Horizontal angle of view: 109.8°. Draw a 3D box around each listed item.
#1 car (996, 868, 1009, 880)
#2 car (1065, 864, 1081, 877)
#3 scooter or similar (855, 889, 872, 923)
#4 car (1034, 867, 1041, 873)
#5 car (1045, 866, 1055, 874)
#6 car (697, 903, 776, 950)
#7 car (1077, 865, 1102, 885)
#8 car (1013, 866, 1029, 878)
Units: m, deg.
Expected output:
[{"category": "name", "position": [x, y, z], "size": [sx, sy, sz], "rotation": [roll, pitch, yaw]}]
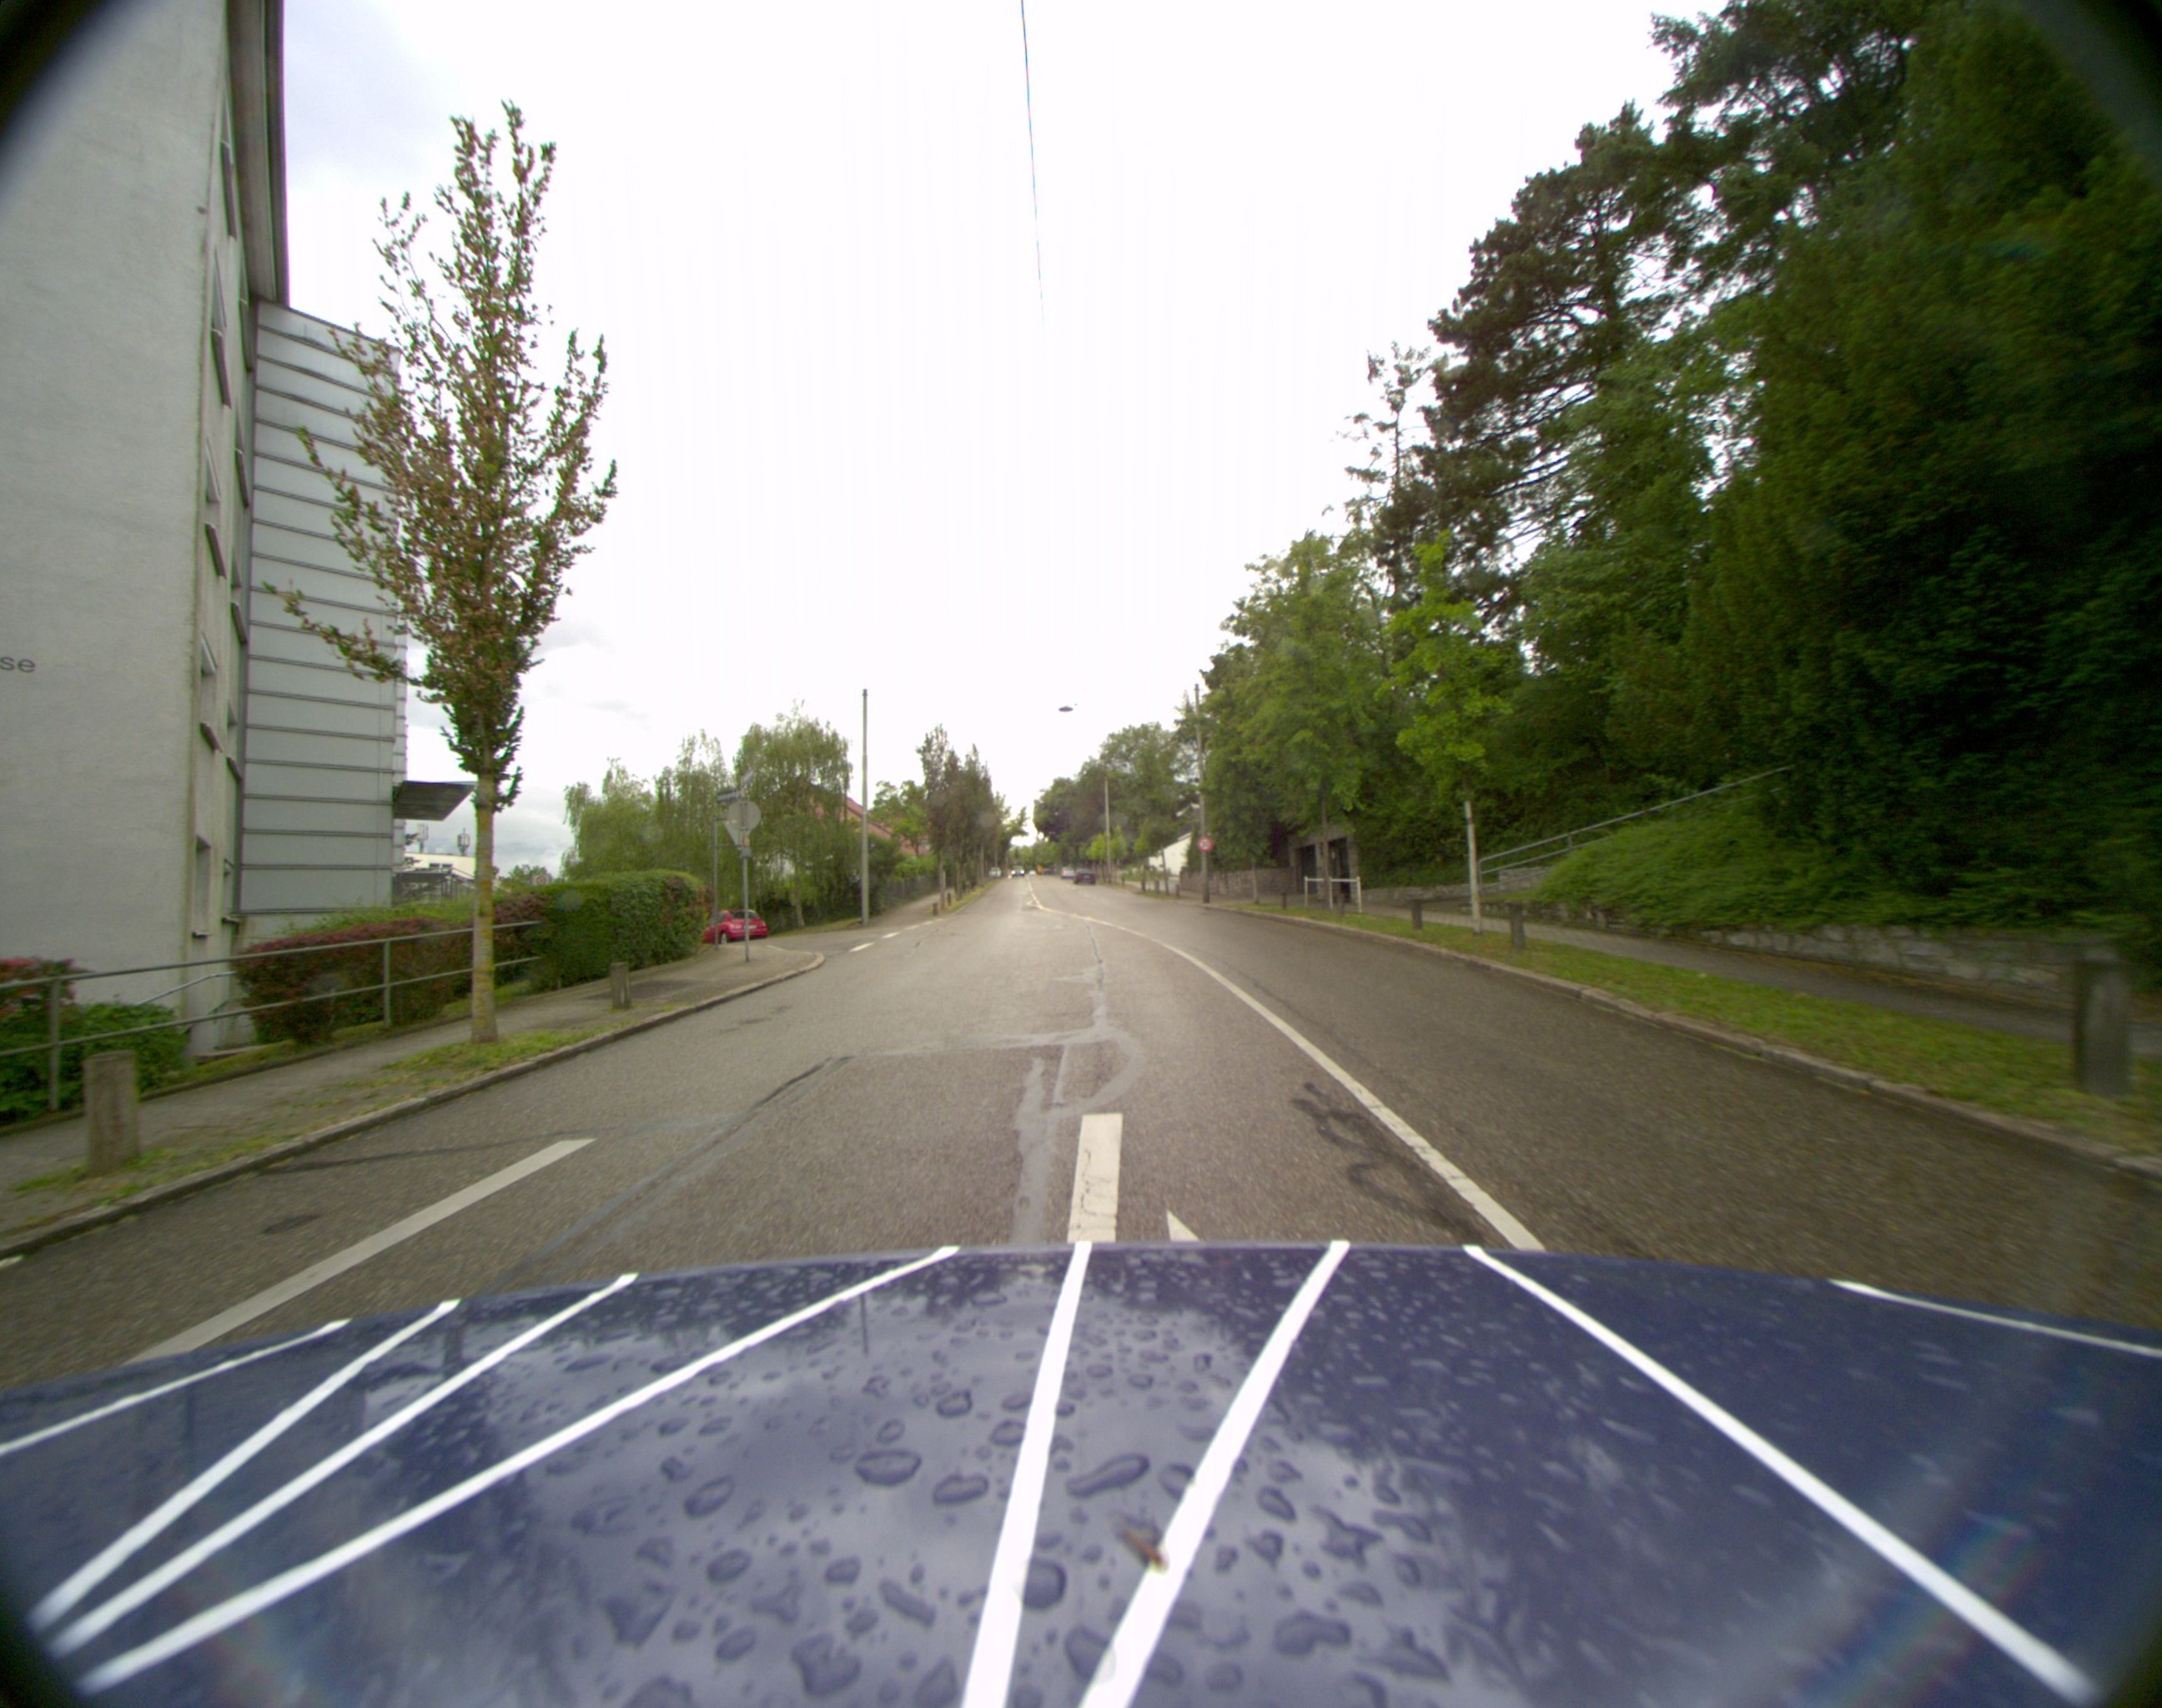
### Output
[{"category": "car", "position": [-11.143, 2.771, 107.838], "size": [1.830, 1.620, 3.998], "rotation": [-1, 0, -6]}, {"category": "car", "position": [-0.978, 1.945, 91.434], "size": [1.770, 1.477, 3.800], "rotation": [1, -1, -4]}, {"category": "scooter or similar", "position": [-8.905, 2.121, 31.191], "size": [0.343, 1.247, 1.267], "rotation": [-5, 1, -5]}, {"category": "car", "position": [-10.938, 3.951, 190.099], "size": [1.767, 1.477, 3.999], "rotation": [-1, 0, -4]}, {"category": "car", "position": [-6.389, 3.299, 157.417], "size": [1.750, 1.540, 3.916], "rotation": [1, -1, -5]}, {"category": "car", "position": [-14.073, 2.963, 30.925], "size": [3.563, 1.512, 1.648], "rotation": [-12, -8, 43]}, {"category": "car", "position": [0.715, 1.855, 67.772], "size": [1.917, 1.575, 4.585], "rotation": [2, 0, -3]}, {"category": "car", "position": [-8.935, 2.682, 113.173], "size": [1.999, 1.673, 4.000], "rotation": [-5, -1, -2]}]
